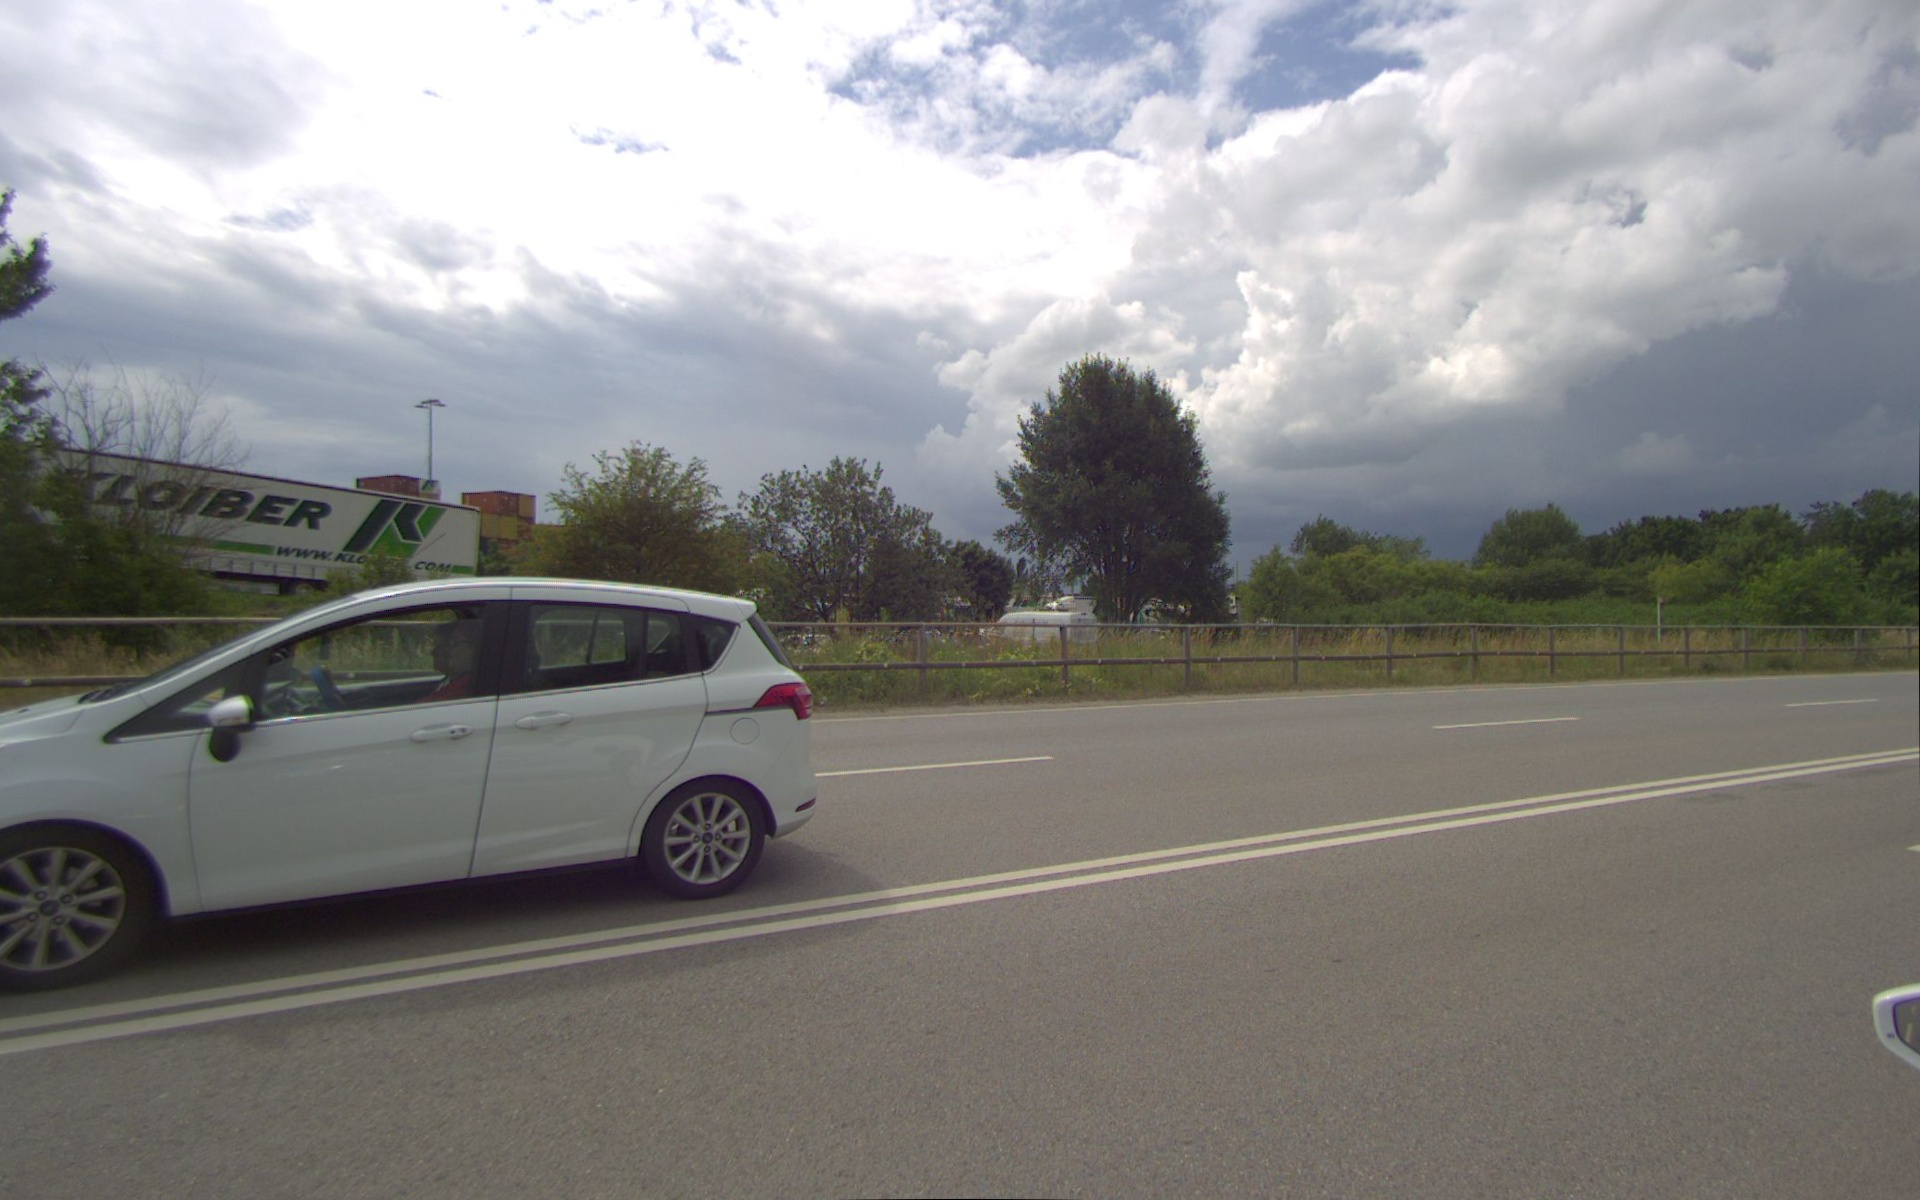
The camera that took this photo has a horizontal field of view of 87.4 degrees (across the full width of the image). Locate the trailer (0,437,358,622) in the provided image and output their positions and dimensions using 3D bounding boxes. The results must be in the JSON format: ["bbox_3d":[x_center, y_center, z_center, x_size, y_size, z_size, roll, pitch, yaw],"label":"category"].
[{"bbox_3d":[-24.603,-1.908,31.939,2.763,5.063,8.947,2,0,38],"label":"trailer"}]

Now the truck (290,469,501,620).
[{"bbox_3d":[-20.657,-1.847,37.038,2.760,5.063,6.164,2,1,38],"label":"truck"}]

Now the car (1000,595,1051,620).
[{"bbox_3d":[5.657,0.663,87.109,3.952,2.040,1.984,2,0,-30],"label":"car"}]

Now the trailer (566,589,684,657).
[{"bbox_3d":[-22.939,1.518,69.423,2.156,4.350,9.375,1,0,22],"label":"trailer"}]

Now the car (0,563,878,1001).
[{"bbox_3d":[-2.565,0.656,5.031,3.955,1.538,1.721,1,0,-32],"label":"car"}]

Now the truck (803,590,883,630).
[{"bbox_3d":[-8.247,0.690,71.810,2.603,2.718,6.649,1,0,25],"label":"truck"}]

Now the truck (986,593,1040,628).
[{"bbox_3d":[4.150,0.812,78.647,3.684,2.713,1.985,1,0,-28],"label":"truck"}]

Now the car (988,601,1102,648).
[{"bbox_3d":[3.528,0.984,42.238,4.522,1.758,1.988,2,1,44],"label":"car"}]

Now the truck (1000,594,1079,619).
[{"bbox_3d":[7.291,0.615,91.726,7.026,2.040,1.991,2,0,-20],"label":"truck"}]

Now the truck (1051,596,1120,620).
[{"bbox_3d":[11.663,0.752,93.336,6.136,2.040,1.991,2,0,-20],"label":"truck"}]

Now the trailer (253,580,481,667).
[{"bbox_3d":[-31.846,1.211,54.290,10.312,4.350,3.207,1,0,-38],"label":"trailer"}]

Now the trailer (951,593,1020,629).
[{"bbox_3d":[1.990,0.819,77.469,5.005,2.695,1.985,1,0,-28],"label":"trailer"}]

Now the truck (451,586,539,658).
[{"bbox_3d":[-29.272,1.328,63.397,2.156,4.350,4.853,1,0,22],"label":"truck"}]
